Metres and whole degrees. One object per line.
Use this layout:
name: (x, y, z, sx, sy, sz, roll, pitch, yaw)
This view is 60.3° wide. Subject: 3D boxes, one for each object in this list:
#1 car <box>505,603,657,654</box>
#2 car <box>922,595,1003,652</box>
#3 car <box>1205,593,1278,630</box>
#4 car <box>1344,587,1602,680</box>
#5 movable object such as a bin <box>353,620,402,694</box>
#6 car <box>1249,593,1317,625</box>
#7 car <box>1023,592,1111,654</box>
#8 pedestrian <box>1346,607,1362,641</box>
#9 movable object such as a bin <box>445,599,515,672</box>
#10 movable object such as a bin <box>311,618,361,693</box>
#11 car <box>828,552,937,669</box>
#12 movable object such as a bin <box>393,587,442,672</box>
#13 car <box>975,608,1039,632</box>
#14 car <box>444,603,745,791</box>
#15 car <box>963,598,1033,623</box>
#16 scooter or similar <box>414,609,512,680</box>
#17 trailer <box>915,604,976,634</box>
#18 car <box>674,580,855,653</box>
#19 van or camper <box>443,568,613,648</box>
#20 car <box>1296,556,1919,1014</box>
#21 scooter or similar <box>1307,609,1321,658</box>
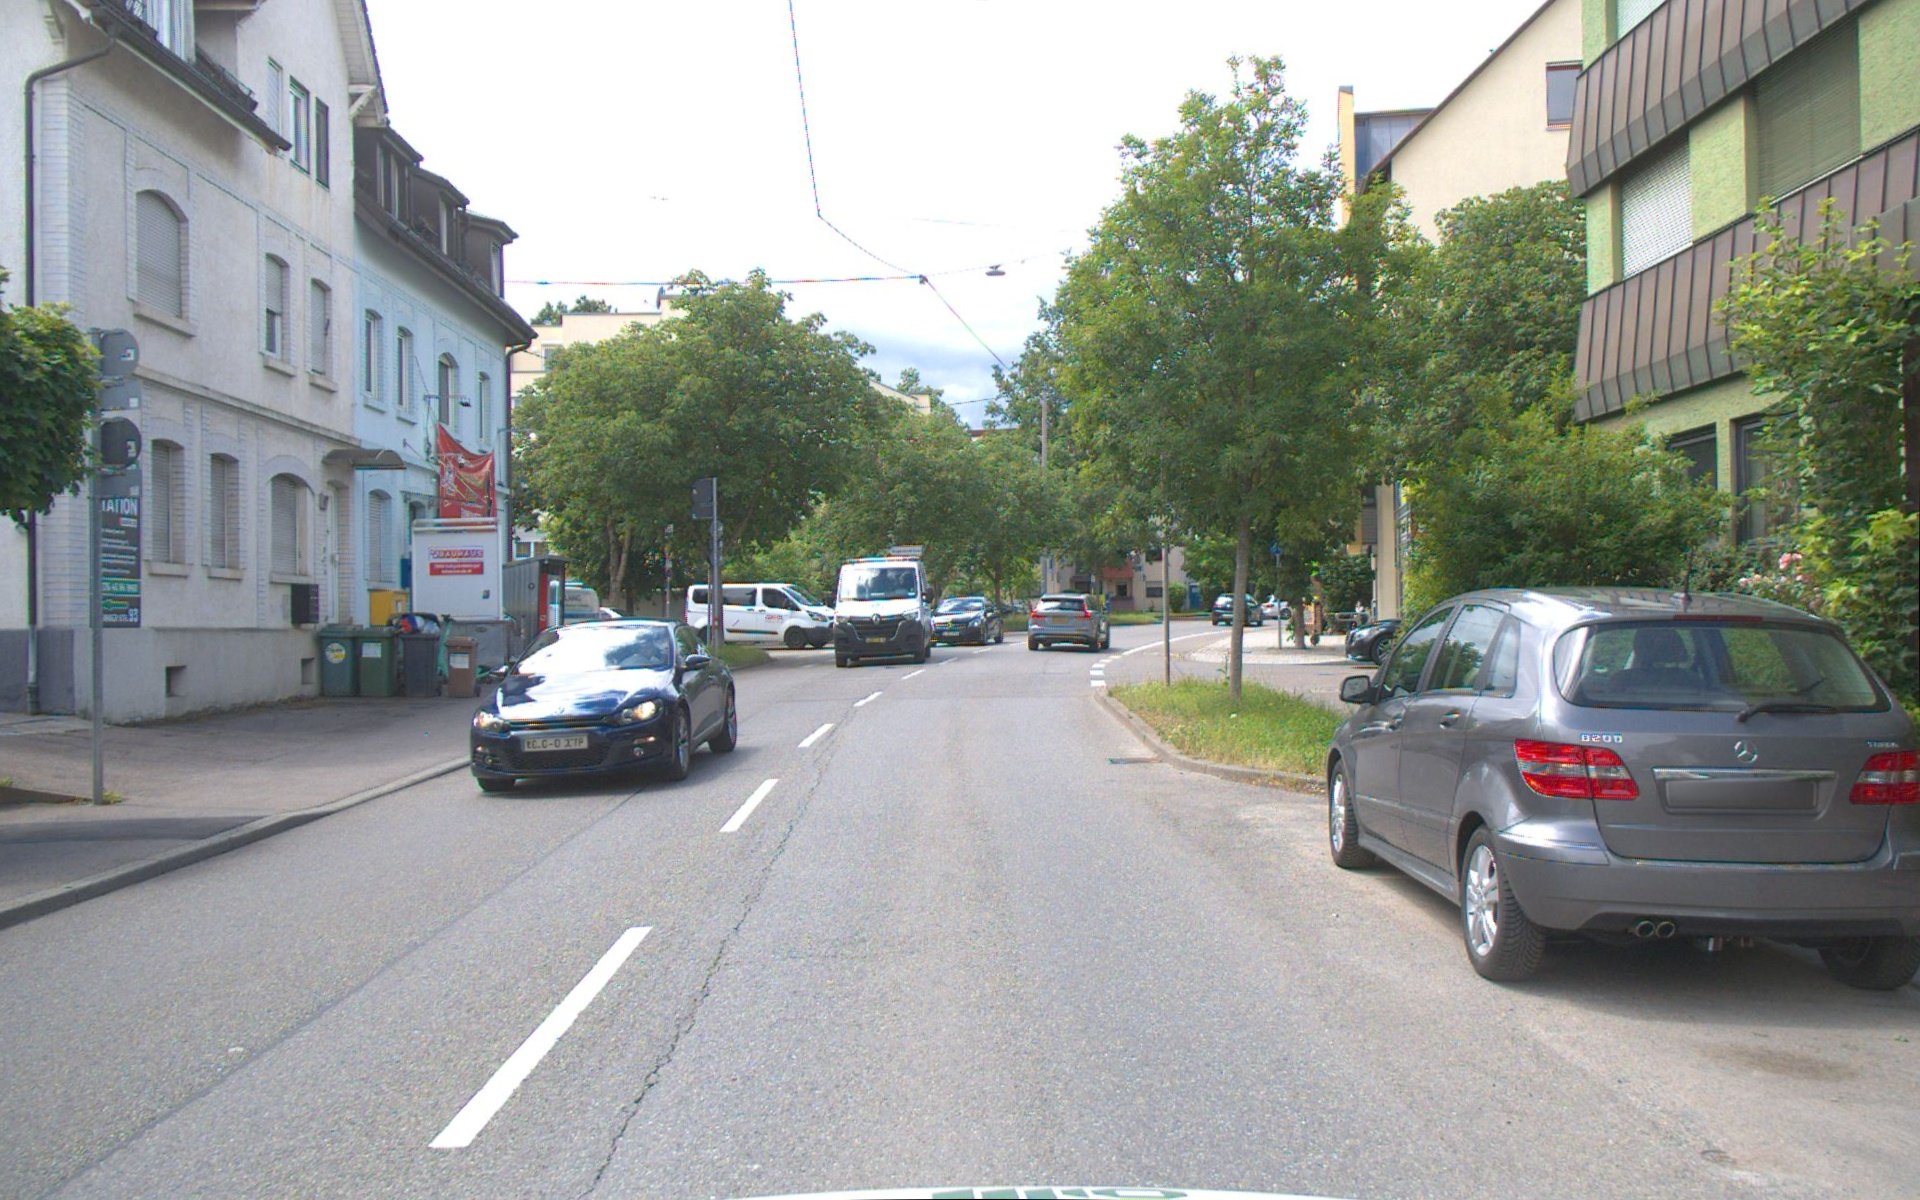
car: (-11.144, 0.839, 48.723, 3.930, 1.438, 1.817, 0, -2, 11)
car: (0.120, 0.693, 48.842, 1.651, 1.508, 4.230, -3, -1, 9)
car: (12.947, 0.533, 75.825, 1.772, 1.549, 4.318, 3, 1, 32)
car: (9.930, 0.646, 32.333, 4.572, 1.657, 1.811, 1, -1, 9)
movable object such as a bin: (-9.054, 0.877, 25.709, 0.553, 1.120, 0.562, 2, -1, -5)
car: (19.570, 0.553, 100.174, 4.292, 1.644, 1.782, 3, 0, -43)
car: (2.906, 0.636, 43.985, 1.914, 1.550, 4.332, 1, -1, 9)
pedestrian: (14.383, 0.879, 60.371, 0.564, 1.225, 0.503, 1, -2, 16)
movable object such as a bin: (-9.331, 0.697, 32.221, 0.999, 1.379, 1.246, 1, -1, -2)
movable object such as a bin: (-9.678, 0.857, 25.661, 0.553, 1.120, 0.562, 2, -1, -5)
car: (-1.684, 0.218, 37.770, 2.020, 2.394, 5.183, -3, 0, 1)
movable object such as a bin: (-8.451, 0.459, 25.780, 0.553, 1.295, 0.562, 2, -1, -5)
car: (3.168, 1.367, 111.312, 3.991, 1.424, 1.796, 1, -4, 15)
car: (-3.191, 0.792, 15.293, 1.734, 1.450, 4.109, -2, -1, 1)
car: (2.346, 0.646, 102.369, 3.991, 1.424, 1.796, 1, -4, 15)
scooter or similar: (-8.755, 0.786, 29.166, 1.522, 1.205, 0.546, 1, -1, -1)
trailer: (-0.983, 1.283, 112.359, 3.823, 1.830, 1.632, 1, -4, 13)
car: (-6.030, 0.519, 51.154, 5.102, 2.028, 2.109, -2, 0, 18)
van or camper: (-11.519, 0.252, 44.356, 1.754, 2.029, 4.365, -1, -2, 34)
car: (2.960, 0.665, 8.388, 1.655, 1.695, 4.463, 0, 1, 1)
scooter or similar: (9.919, 0.944, 46.346, 0.373, 1.339, 1.460, 1, -1, 12)
